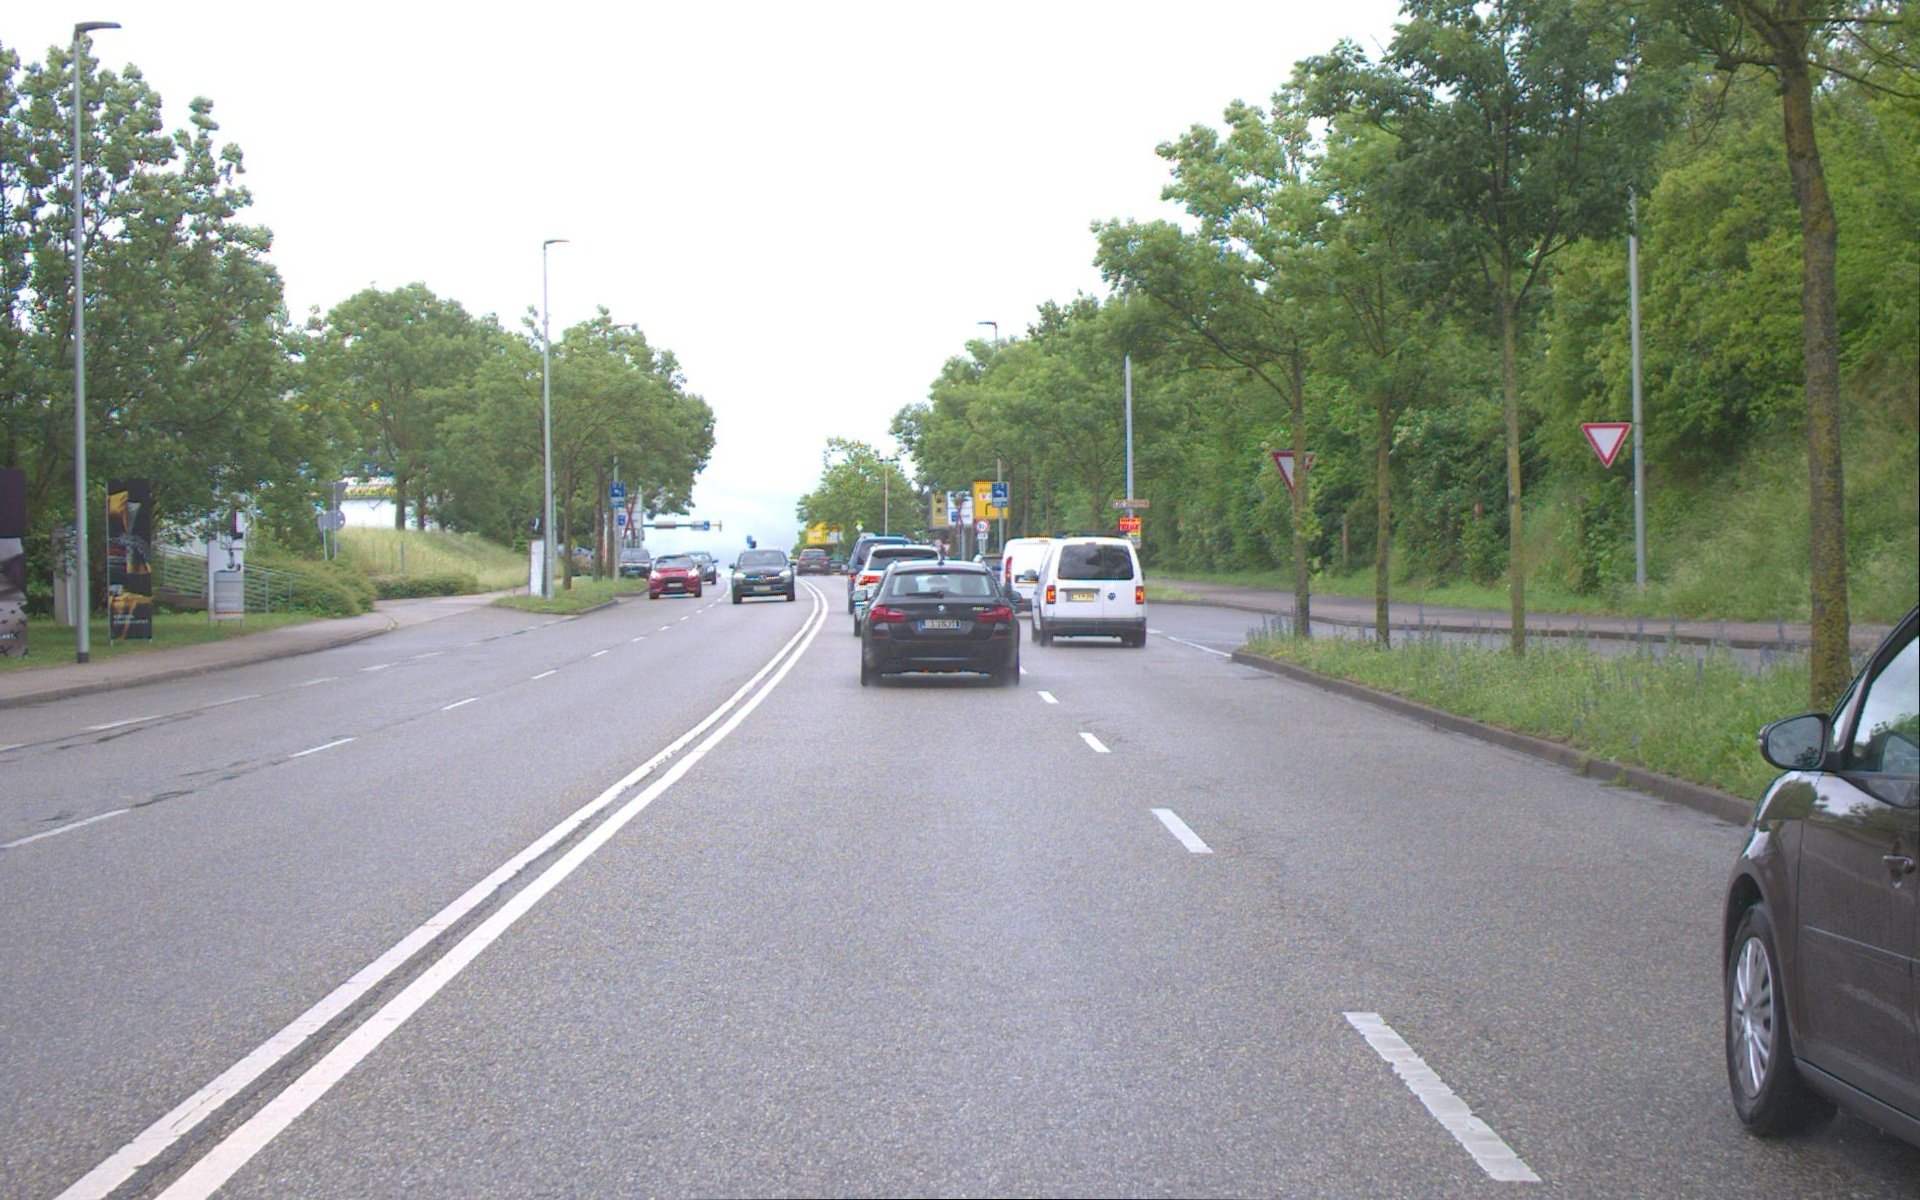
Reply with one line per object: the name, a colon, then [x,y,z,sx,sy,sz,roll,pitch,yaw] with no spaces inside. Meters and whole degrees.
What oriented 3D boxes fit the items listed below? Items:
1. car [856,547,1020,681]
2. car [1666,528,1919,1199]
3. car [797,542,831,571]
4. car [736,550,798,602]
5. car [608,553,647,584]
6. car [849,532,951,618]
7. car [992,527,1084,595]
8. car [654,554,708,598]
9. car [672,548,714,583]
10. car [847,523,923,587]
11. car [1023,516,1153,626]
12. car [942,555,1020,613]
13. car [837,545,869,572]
car: [-0.256,0.125,40.962,1.827,1.463,4.000,2,1,0]
car: [2.863,0.640,7.491,1.685,1.575,4.219,1,1,-1]
car: [-7.969,-2.383,187.873,1.794,1.505,4.000,1,0,-2]
car: [-5.874,-0.718,104.416,1.794,1.505,4.001,1,0,-4]
car: [-16.664,-1.577,172.516,1.794,1.505,4.001,1,0,-4]
car: [-1.137,-0.455,63.320,1.794,1.505,4.000,1,0,-2]
car: [1.759,-0.885,79.094,1.794,1.505,4.000,1,0,-3]
car: [-9.763,-0.834,120.582,1.794,1.505,4.001,1,0,-4]
car: [-11.825,-1.512,152.509,1.794,1.505,4.001,1,0,-4]
car: [-1.825,-1.078,83.997,1.794,1.505,4.000,1,0,-1]
car: [2.103,-0.509,57.556,1.827,1.753,4.001,1,1,-2]
car: [0.554,-0.435,93.376,1.794,1.505,4.001,1,0,-4]
car: [-6.229,-2.381,199.159,1.794,1.505,4.000,1,0,-2]
